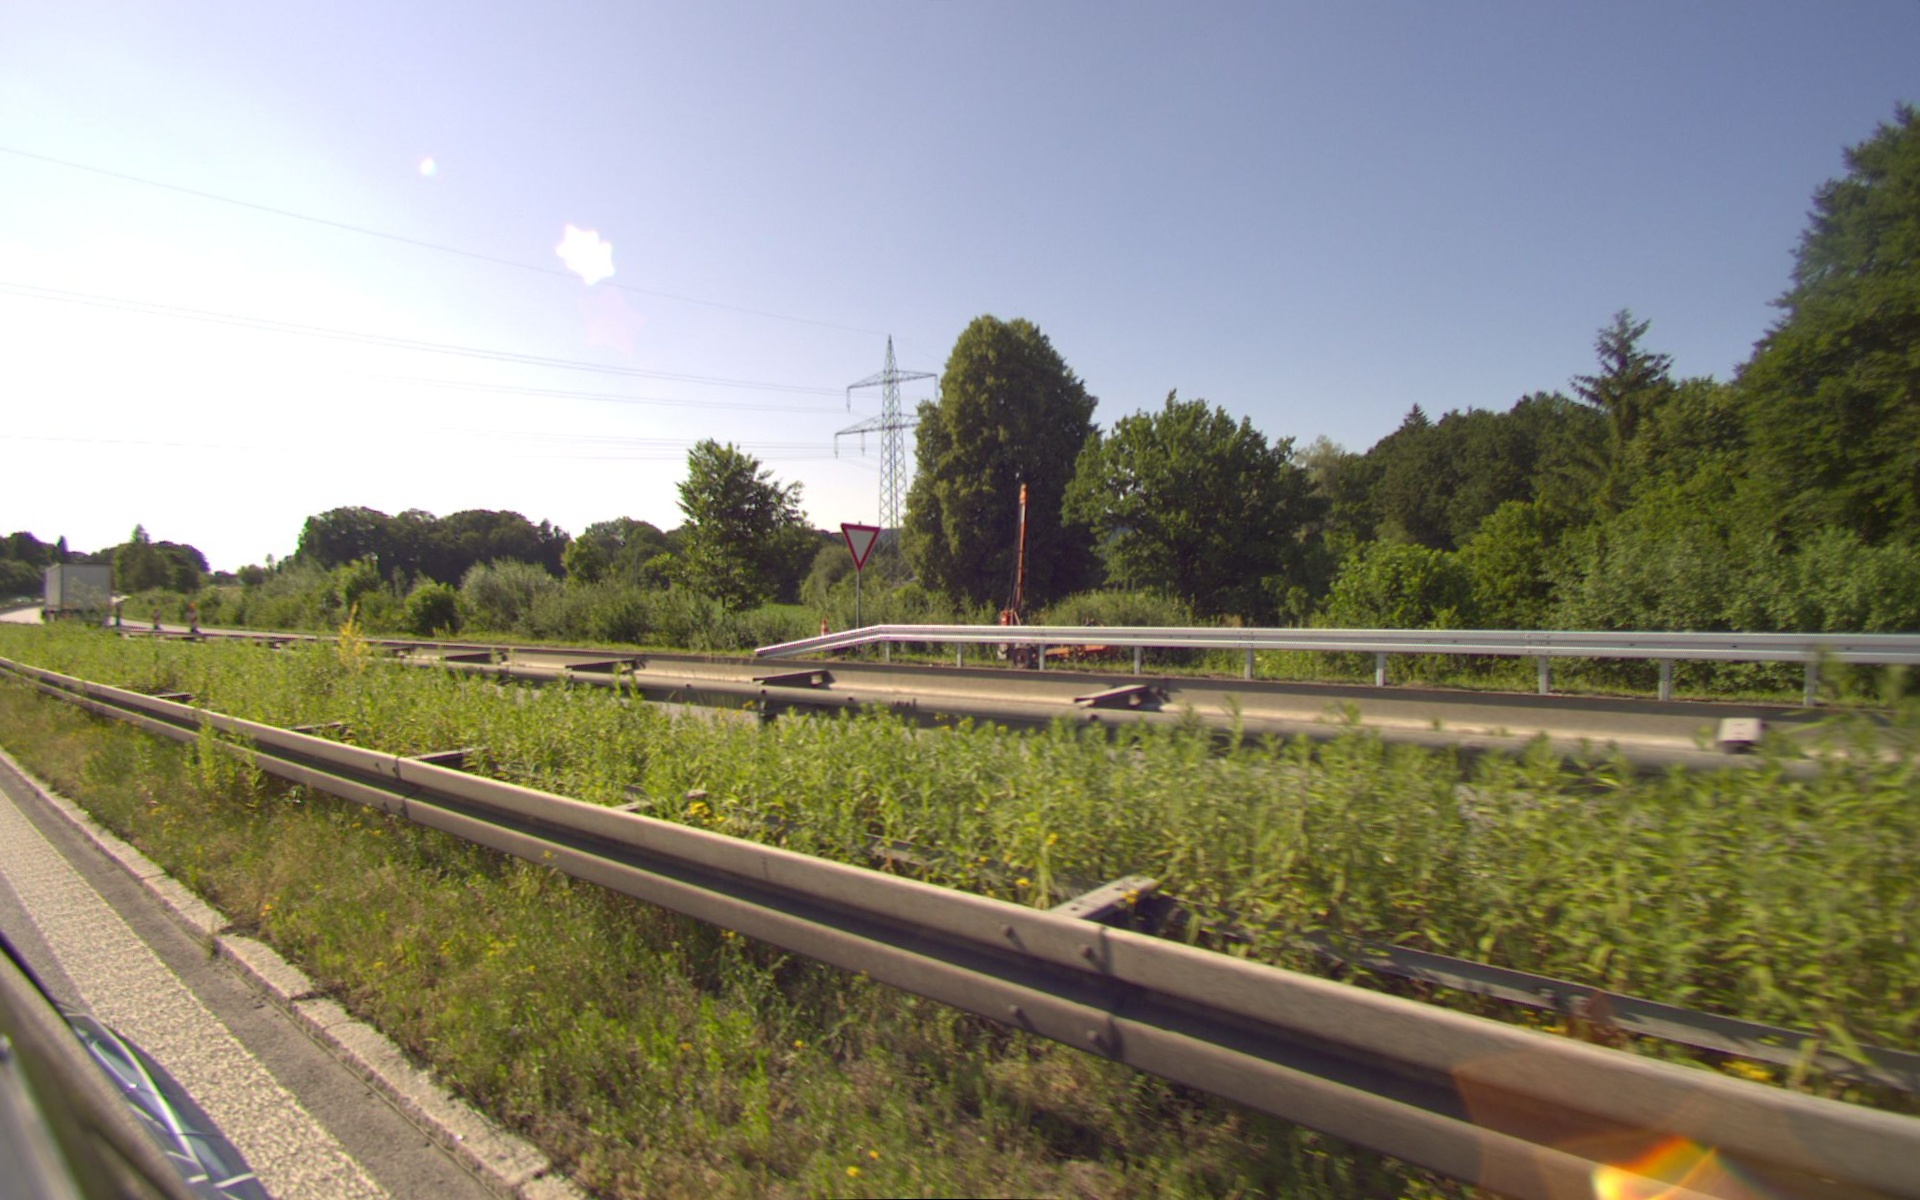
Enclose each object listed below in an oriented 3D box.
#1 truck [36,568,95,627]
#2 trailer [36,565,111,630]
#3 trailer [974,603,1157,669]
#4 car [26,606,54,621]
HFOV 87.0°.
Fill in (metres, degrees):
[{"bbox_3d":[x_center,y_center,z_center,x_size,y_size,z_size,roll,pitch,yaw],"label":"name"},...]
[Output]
[{"bbox_3d":[-63.189,-0.178,71.436,5.844,3.989,2.603,-1,0,44],"label":"truck"},{"bbox_3d":[-59.817,-0.019,68.113,13.771,3.984,2.649,-1,-1,44],"label":"trailer"},{"bbox_3d":[1.903,0.644,18.919,3.422,1.060,0.983,-1,4,42],"label":"trailer"},{"bbox_3d":[-91.213,1.355,100.306,4.270,1.440,1.757,-1,-1,44],"label":"car"}]
